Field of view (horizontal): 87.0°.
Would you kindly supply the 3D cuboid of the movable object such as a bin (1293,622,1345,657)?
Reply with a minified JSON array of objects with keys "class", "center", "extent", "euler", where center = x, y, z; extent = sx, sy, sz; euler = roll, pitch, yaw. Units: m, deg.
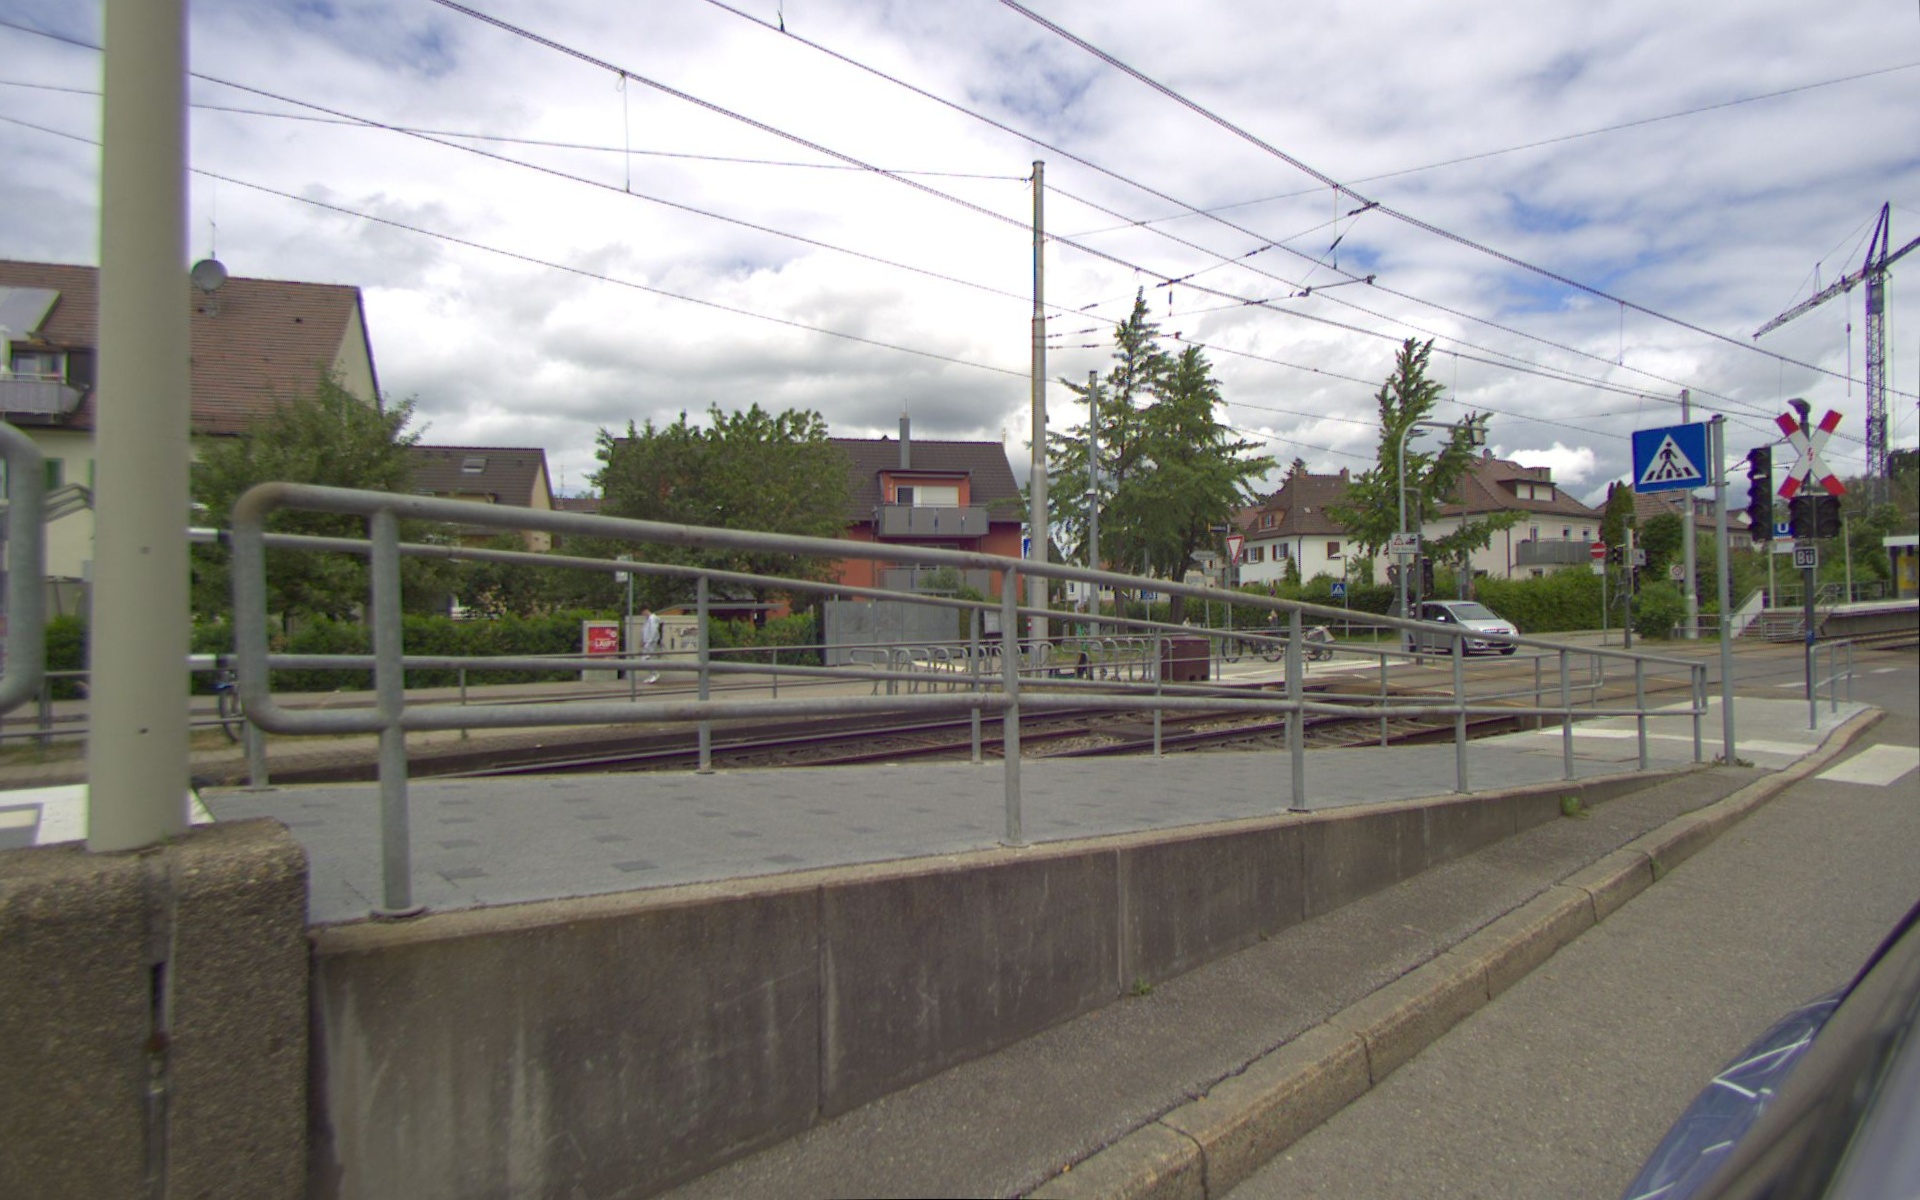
[{"class":"movable object such as a bin","center":[9.194,1.003,25.919],"extent":[1.072,0.835,0.580],"euler":[-1,-1,-13]}]

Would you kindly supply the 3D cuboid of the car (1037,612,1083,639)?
[{"class":"car","center":[6.553,1.674,66.656],"extent":[1.815,1.657,4.472],"euler":[-2,-1,-10]}]

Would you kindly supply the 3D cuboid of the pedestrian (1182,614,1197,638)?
[{"class":"pedestrian","center":[15.100,1.727,66.562],"extent":[0.734,1.550,0.545],"euler":[-2,-2,-21]}]

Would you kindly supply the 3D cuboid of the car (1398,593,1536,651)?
[{"class":"car","center":[14.971,0.645,30.143],"extent":[1.692,1.588,3.932],"euler":[-1,-1,-8]}]

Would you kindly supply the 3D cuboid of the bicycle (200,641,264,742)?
[{"class":"bicycle","center":[-8.518,1.027,11.814],"extent":[0.547,1.055,1.769],"euler":[0,-1,-38]}]

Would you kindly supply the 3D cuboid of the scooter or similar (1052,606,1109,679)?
[{"class":"scooter or similar","center":[2.251,0.781,18.982],"extent":[0.480,1.333,1.051],"euler":[1,-2,-36]}]

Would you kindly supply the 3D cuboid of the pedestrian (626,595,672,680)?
[{"class":"pedestrian","center":[-7.221,0.857,23.507],"extent":[0.620,1.939,0.823],"euler":[-1,-2,28]}]

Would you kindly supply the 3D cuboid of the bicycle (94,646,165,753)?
[{"class":"bicycle","center":[-9.210,1.060,11.259],"extent":[0.547,1.055,1.769],"euler":[0,-1,-38]}]

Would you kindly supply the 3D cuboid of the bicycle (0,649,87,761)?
[{"class":"bicycle","center":[-9.762,1.074,10.819],"extent":[0.547,1.055,1.769],"euler":[0,-1,-38]}]

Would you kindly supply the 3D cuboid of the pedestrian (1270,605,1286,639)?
[{"class":"pedestrian","center":[15.579,1.079,49.638],"extent":[0.591,1.640,0.672],"euler":[-4,-2,23]}]

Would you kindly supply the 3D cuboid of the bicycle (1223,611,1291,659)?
[{"class":"bicycle","center":[7.589,0.884,25.897],"extent":[1.657,1.170,0.467],"euler":[-1,-1,-16]}]
